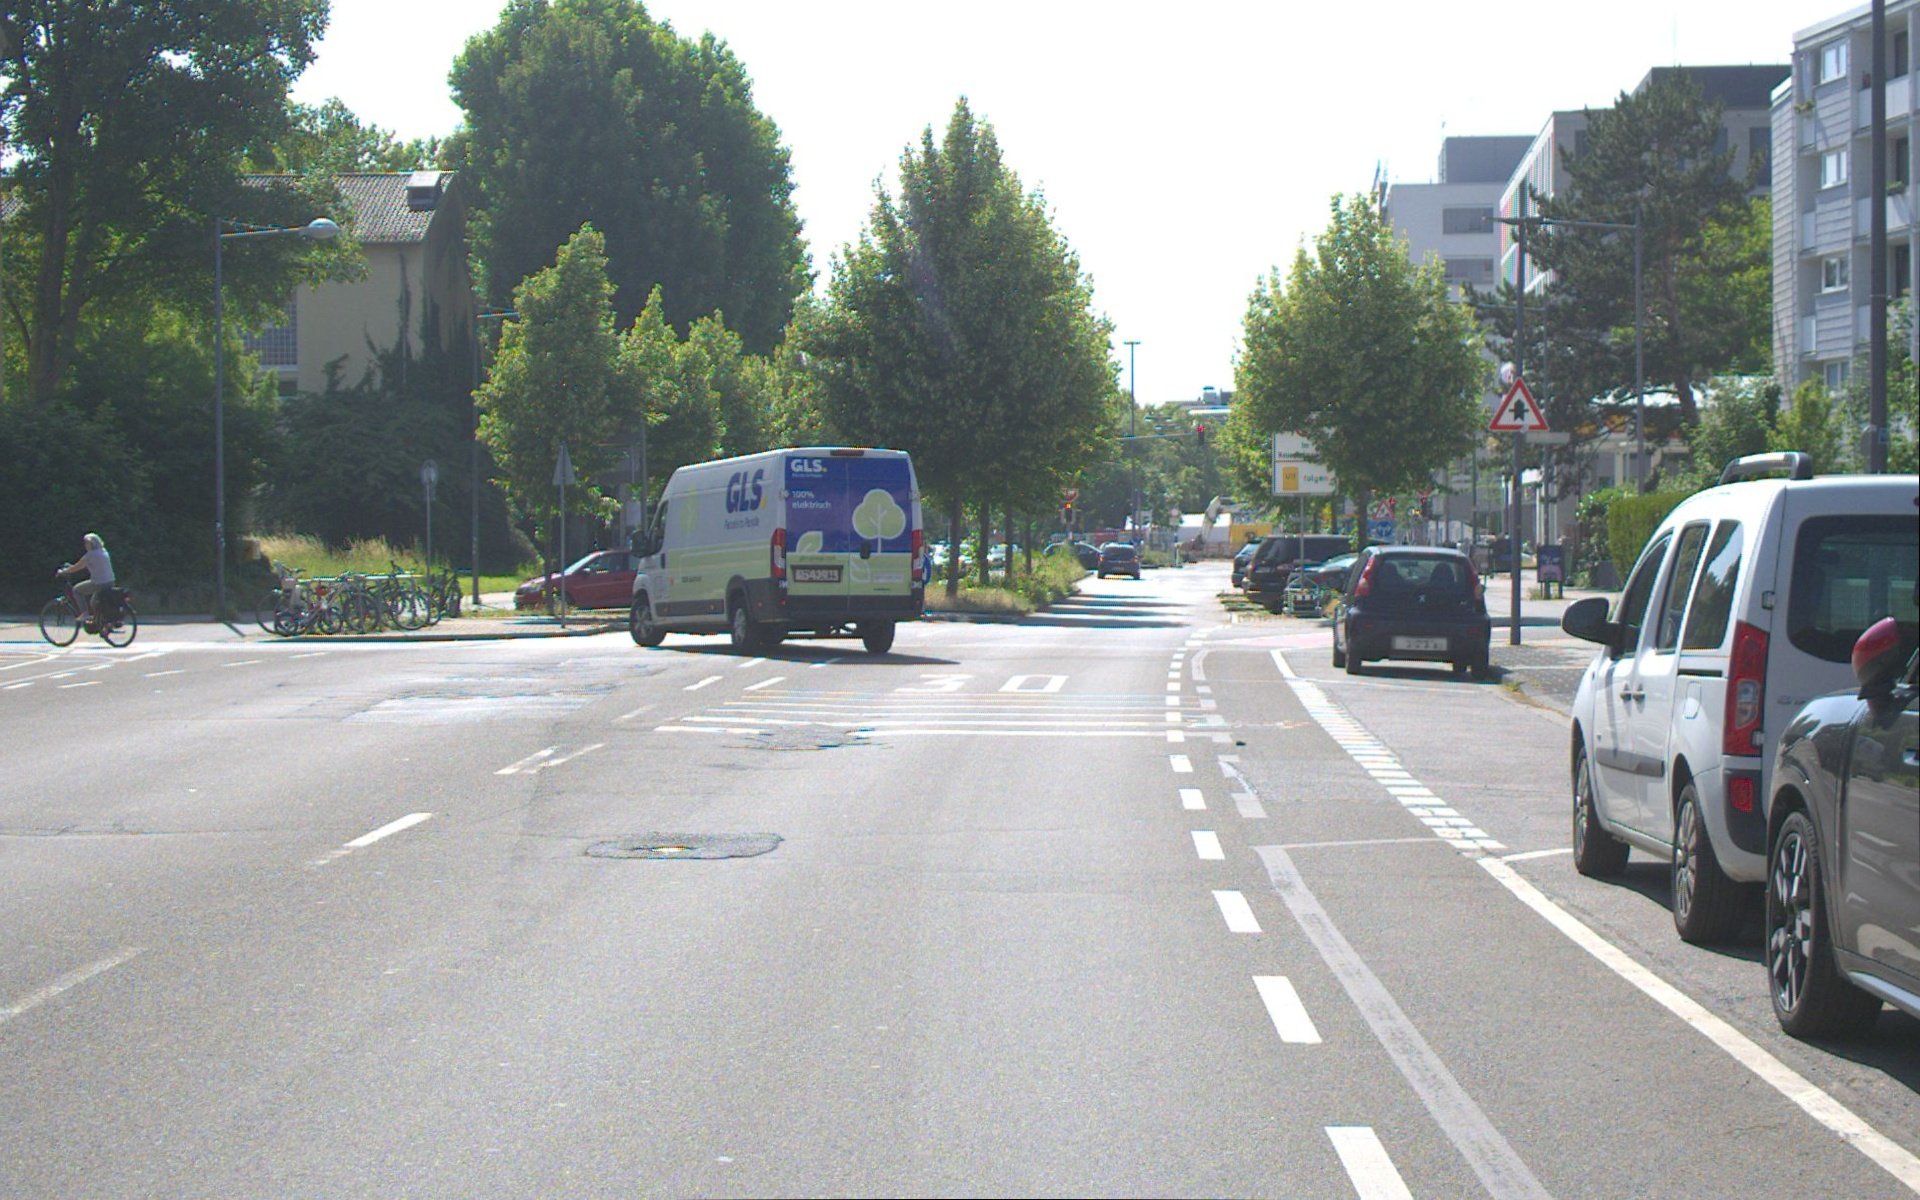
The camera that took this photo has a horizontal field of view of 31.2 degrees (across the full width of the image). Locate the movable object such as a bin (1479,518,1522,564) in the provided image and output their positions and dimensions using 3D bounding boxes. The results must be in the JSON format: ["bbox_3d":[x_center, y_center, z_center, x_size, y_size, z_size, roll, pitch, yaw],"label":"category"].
[{"bbox_3d":[19.341,-2.126,123.051,1.307,1.586,1.396,-3,1,2],"label":"movable object such as a bin"}]

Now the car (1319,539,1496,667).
[{"bbox_3d":[5.141,0.002,39.898,1.617,1.385,4.000,1,1,2],"label":"car"}]

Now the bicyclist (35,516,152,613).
[{"bbox_3d":[-12.886,-0.524,51.125,1.352,1.398,0.959,-1,2,21],"label":"bicyclist"}]

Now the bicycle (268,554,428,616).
[{"bbox_3d":[-10.329,-0.260,58.041,2.544,0.984,0.739,-1,2,2],"label":"bicycle"}]

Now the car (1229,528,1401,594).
[{"bbox_3d":[8.880,-0.988,86.243,3.986,1.634,1.753,0,1,-8],"label":"car"}]

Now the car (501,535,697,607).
[{"bbox_3d":[-8.016,-0.651,76.295,3.986,1.461,2.001,-2,2,-17],"label":"car"}]

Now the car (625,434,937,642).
[{"bbox_3d":[-2.457,-0.808,45.085,2.275,2.515,6.137,-2,1,-21],"label":"car"}]

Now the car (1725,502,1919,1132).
[{"bbox_3d":[3.317,0.544,8.959,1.762,1.588,4.314,0,2,1],"label":"car"}]

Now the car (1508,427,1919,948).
[{"bbox_3d":[3.545,0.306,14.481,1.762,1.820,4.598,2,0,1],"label":"car"}]

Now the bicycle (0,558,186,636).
[{"bbox_3d":[-12.899,-0.043,51.151,2.547,1.109,0.959,-1,2,20],"label":"bicycle"}]

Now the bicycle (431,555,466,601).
[{"bbox_3d":[-10.228,-0.433,68.773,0.520,0.900,1.271,-1,1,-1],"label":"bicycle"}]

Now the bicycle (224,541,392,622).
[{"bbox_3d":[-10.580,-0.308,55.819,2.544,1.252,0.739,-1,2,2],"label":"bicycle"}]

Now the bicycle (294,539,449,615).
[{"bbox_3d":[-10.176,-0.407,59.478,2.515,1.252,0.739,-1,2,2],"label":"bicycle"}]

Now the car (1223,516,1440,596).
[{"bbox_3d":[7.803,-0.945,72.211,4.106,1.634,2.045,-1,1,-29],"label":"car"}]

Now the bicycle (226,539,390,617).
[{"bbox_3d":[-10.802,-0.368,56.981,2.544,1.235,0.739,-1,2,2],"label":"bicycle"}]

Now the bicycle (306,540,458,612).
[{"bbox_3d":[-10.147,-0.420,60.416,2.544,1.252,0.739,0,1,2],"label":"bicycle"}]

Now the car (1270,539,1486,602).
[{"bbox_3d":[8.444,-0.616,69.453,3.986,1.232,1.753,0,1,-22],"label":"car"}]

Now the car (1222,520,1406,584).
[{"bbox_3d":[9.443,-1.287,91.641,4.730,1.654,1.753,-1,1,-30],"label":"car"}]

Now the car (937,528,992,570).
[{"bbox_3d":[0.195,-1.954,130.949,1.742,1.542,4.072,-1,1,5],"label":"car"}]

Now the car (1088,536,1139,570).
[{"bbox_3d":[6.429,-1.989,143.974,1.993,1.393,4.000,0,1,1],"label":"car"}]

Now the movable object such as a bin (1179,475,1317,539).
[{"bbox_3d":[20.563,-6.640,245.336,9.677,4.534,3.163,0,1,6],"label":"movable object such as a bin"}]
